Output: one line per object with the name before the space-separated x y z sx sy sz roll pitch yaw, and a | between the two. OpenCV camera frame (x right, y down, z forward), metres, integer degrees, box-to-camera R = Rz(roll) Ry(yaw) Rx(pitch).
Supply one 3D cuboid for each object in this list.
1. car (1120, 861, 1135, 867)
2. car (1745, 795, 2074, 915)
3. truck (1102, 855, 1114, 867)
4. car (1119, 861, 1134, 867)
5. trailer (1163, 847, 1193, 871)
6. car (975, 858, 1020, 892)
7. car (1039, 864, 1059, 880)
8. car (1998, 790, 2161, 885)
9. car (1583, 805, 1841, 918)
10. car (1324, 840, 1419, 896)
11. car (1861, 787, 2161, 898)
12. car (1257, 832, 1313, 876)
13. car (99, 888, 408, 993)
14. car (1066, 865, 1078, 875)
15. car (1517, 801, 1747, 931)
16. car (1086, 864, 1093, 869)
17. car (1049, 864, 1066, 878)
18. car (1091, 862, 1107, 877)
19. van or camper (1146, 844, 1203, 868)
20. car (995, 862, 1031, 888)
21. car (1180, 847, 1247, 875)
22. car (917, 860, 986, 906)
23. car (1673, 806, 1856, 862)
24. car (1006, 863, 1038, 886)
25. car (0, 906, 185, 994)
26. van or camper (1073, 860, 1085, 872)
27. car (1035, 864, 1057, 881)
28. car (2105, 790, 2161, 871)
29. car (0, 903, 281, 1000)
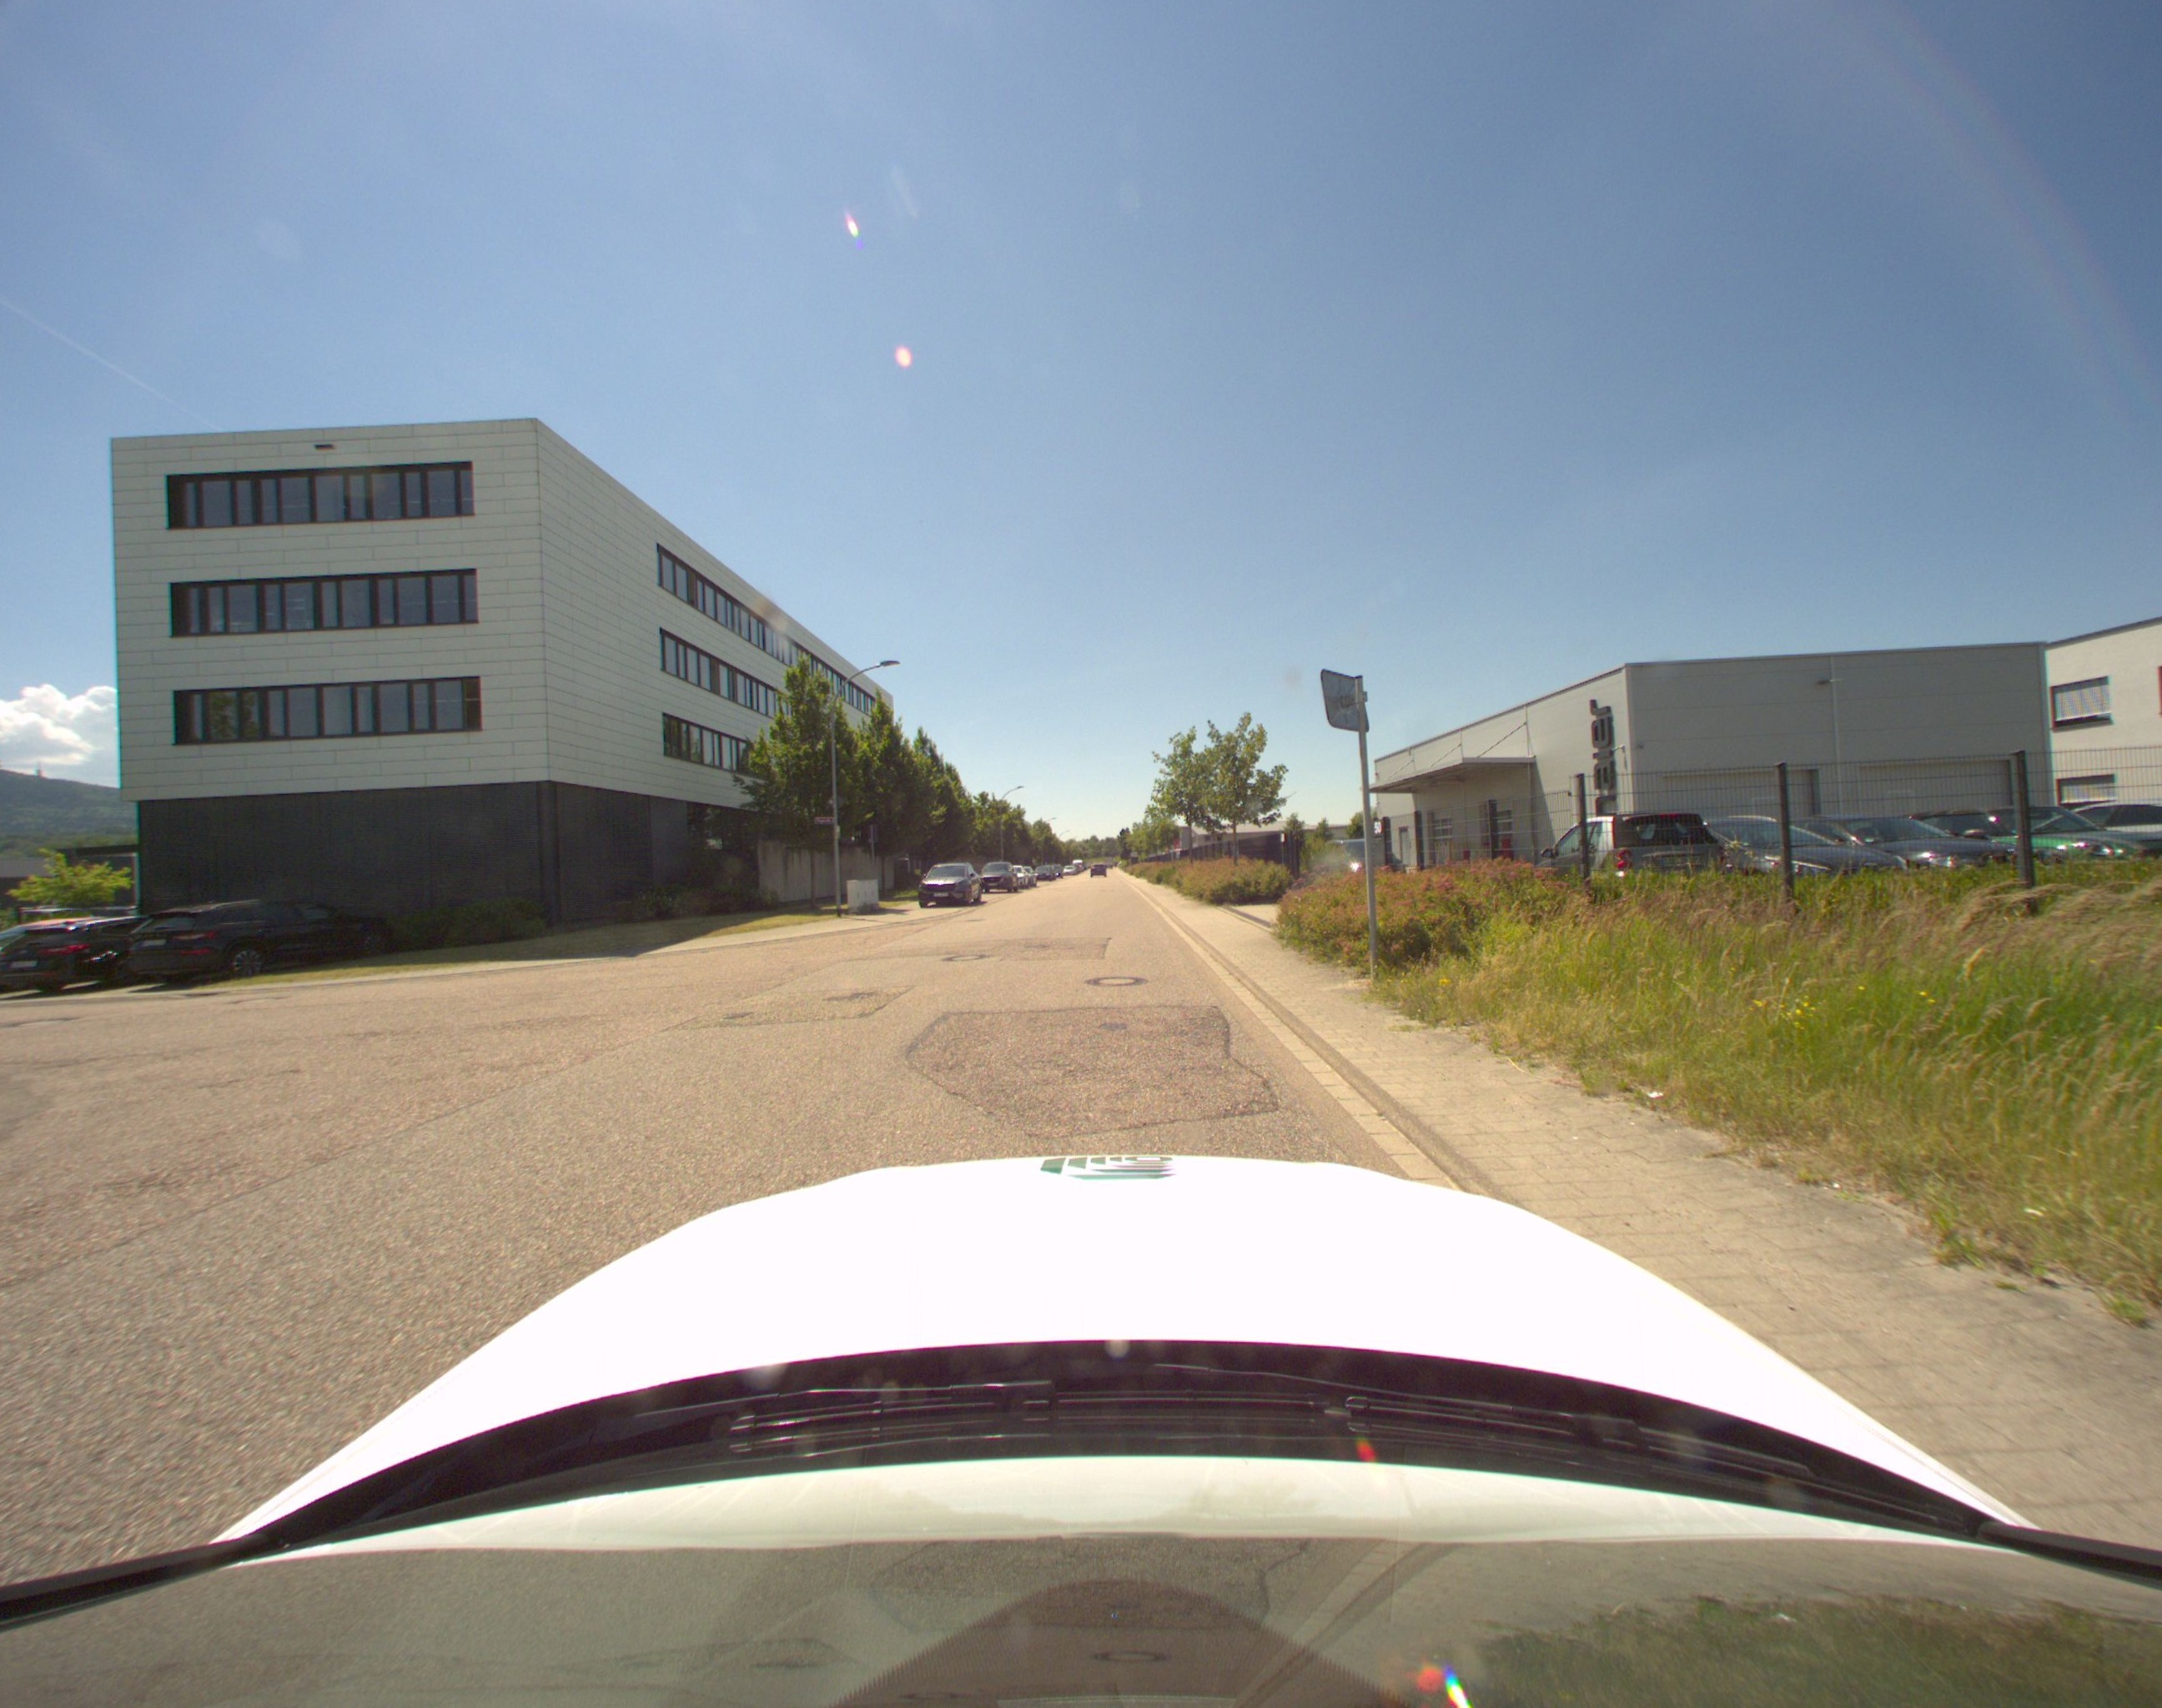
car | 12.292 2.668 216.391 3.864 1.750 1.751 0 -1 -1
car | 12.162 0.042 12.286 1.509 1.496 3.332 -3 -1 0
truck | 6.766 1.813 201.470 2.921 2.974 6.422 0 -1 2
car | 12.197 2.712 219.104 3.864 1.750 1.751 0 -1 -1
trailer | 10.142 0.534 85.483 2.816 2.403 1.418 -4 -1 -3
car | -4.488 1.110 44.270 1.764 1.623 4.584 -2 0 2
car | -3.277 1.855 84.666 1.765 1.611 4.852 -2 -1 1
car | 16.617 -0.273 12.303 1.509 1.397 3.540 -3 -1 1
car | 9.877 0.131 13.082 1.509 1.496 3.332 -3 -1 0
car | 9.268 0.400 26.263 1.803 1.552 3.578 -4 0 2
car | 14.165 -0.145 12.332 1.452 1.412 3.332 -3 -1 1
car | 10.675 0.014 42.824 1.870 2.087 4.227 -4 -1 2
car | -18.654 1.849 18.816 1.797 1.592 4.909 -3 3 4
car | -1.429 2.571 129.109 1.715 1.476 3.856 -2 -1 -1
car | 7.720 0.176 11.694 1.461 1.574 2.662 -3 -1 2
car | 2.517 3.789 248.092 1.791 1.487 4.256 -2 0 3
car | -2.766 2.064 97.524 1.765 1.611 4.247 -2 -1 1
car | 2.096 1.757 92.620 1.783 1.623 3.810 0 -1 2
van or camper | 11.670 0.281 101.813 6.734 2.585 2.636 -3 -1 0
car | -4.259 1.320 51.679 1.764 1.431 4.202 -2 0 2
car | 10.670 0.594 65.840 5.096 1.874 1.903 -4 -1 0
car | -4.873 1.064 31.340 1.764 1.588 4.482 -2 -1 2
car | 20.256 -0.586 24.237 3.973 1.378 1.706 -3 1 1
car | -4.061 1.396 56.418 1.764 1.431 3.941 -2 0 2
car | -23.989 2.223 18.955 1.673 1.523 3.939 -3 3 4
van or camper | -0.334 2.473 171.602 2.069 2.483 6.137 0 -1 4
car | -3.408 1.762 78.920 1.764 1.431 4.202 -2 0 2
car | 19.921 -0.475 13.334 1.509 1.430 3.784 -3 -1 1
car | -21.312 2.110 18.499 1.797 1.447 4.260 -3 3 4
